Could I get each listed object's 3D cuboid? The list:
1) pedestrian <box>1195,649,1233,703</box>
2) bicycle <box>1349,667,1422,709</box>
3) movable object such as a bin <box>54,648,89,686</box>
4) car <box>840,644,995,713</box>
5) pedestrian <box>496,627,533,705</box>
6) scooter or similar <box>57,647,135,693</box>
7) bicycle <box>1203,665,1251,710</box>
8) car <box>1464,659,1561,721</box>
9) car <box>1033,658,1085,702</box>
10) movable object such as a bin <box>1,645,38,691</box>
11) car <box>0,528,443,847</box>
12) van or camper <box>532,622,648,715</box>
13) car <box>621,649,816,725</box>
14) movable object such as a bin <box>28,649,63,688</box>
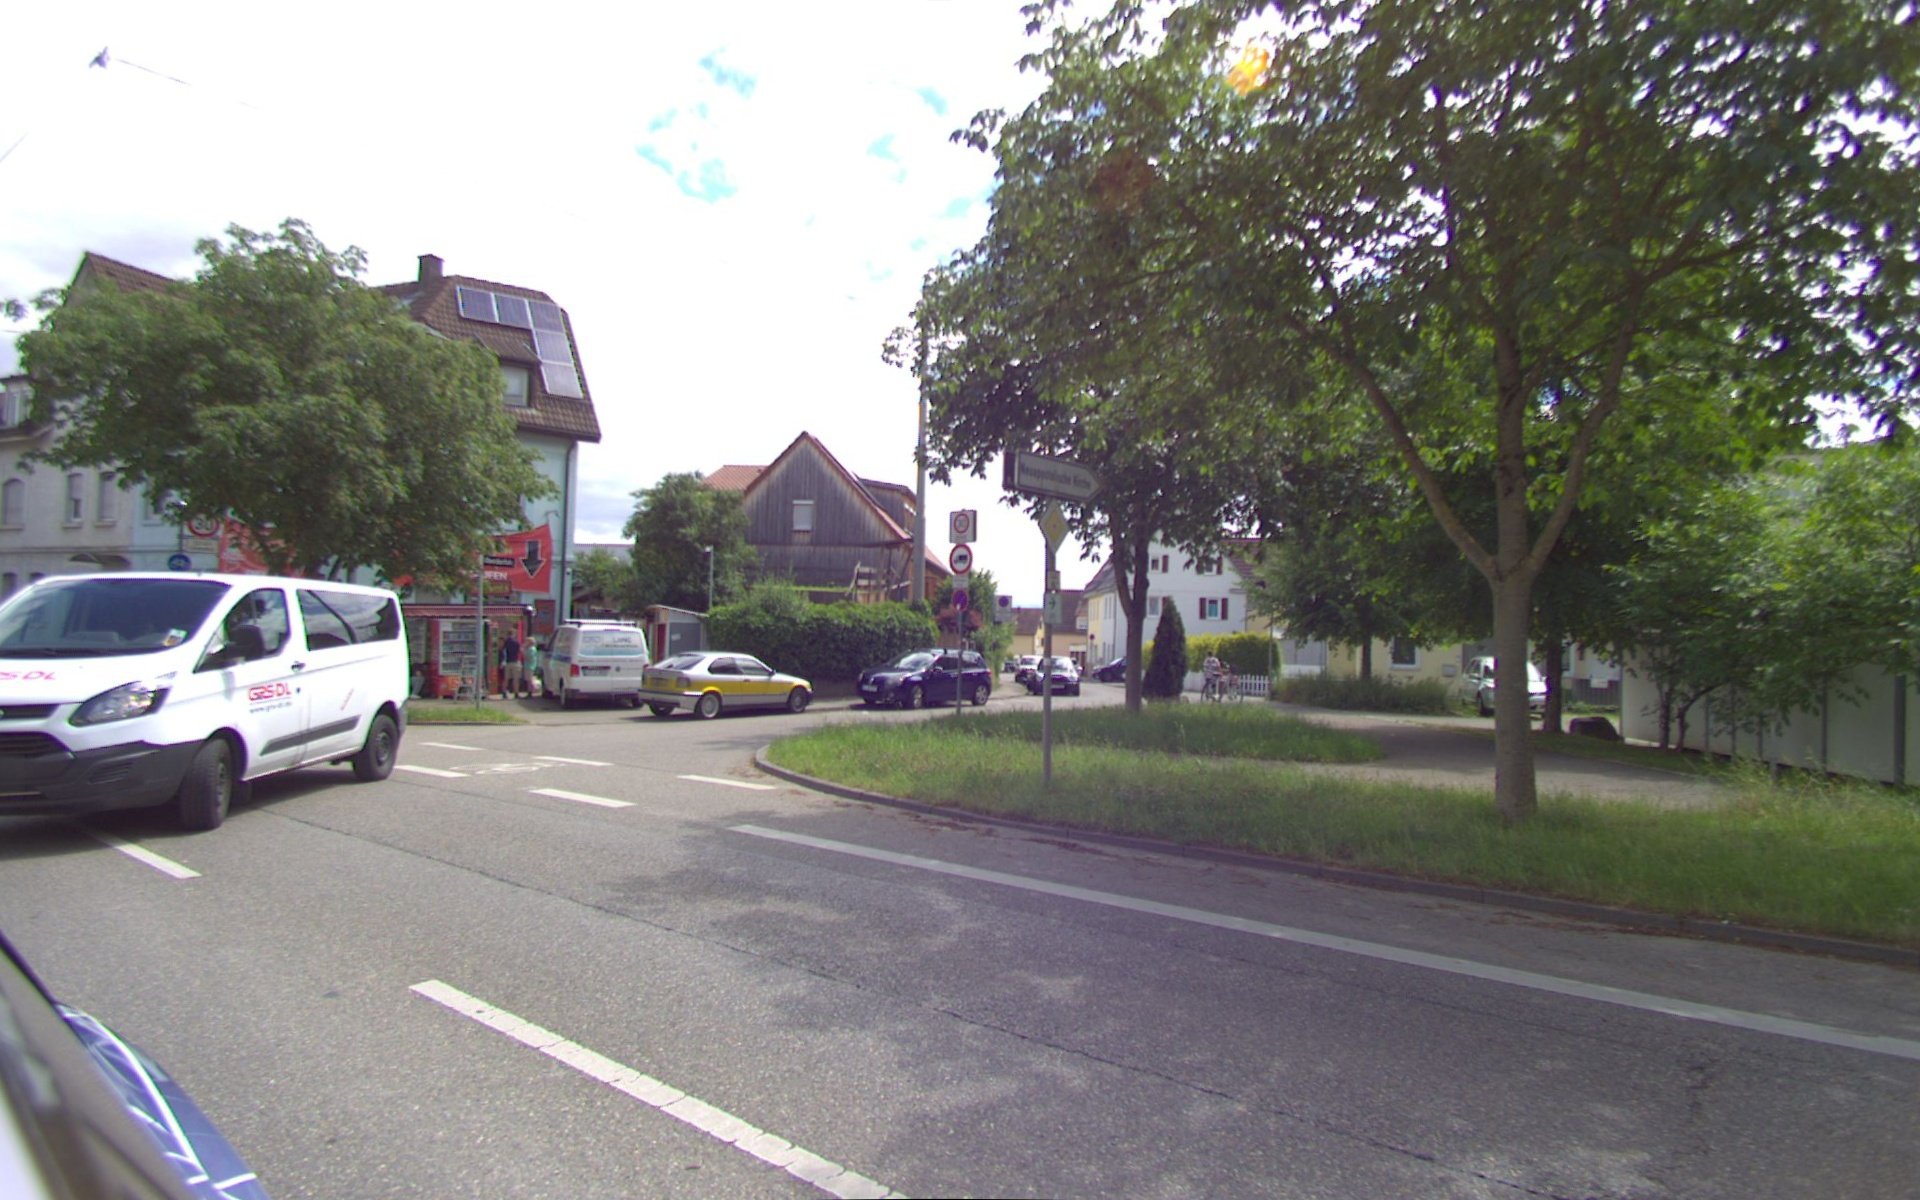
[{"bbox_3d":[7.786,2.324,31.045,0.812,1.607,0.727,-7,-6,36],"label":"pedestrian"},{"bbox_3d":[15.319,3.163,36.489,2.395,1.375,0.511,0,-1,24],"label":"bicycle"},{"bbox_3d":[-26.520,1.991,30.200,0.558,1.109,0.563,0,-1,18],"label":"movable object such as a bin"},{"bbox_3d":[-1.026,1.973,26.168,1.814,1.560,3.948,1,-1,40],"label":"car"},{"bbox_3d":[-11.186,1.641,25.421,0.559,1.910,0.623,1,-1,11],"label":"pedestrian"},{"bbox_3d":[-24.025,1.923,28.165,0.542,1.193,1.546,0,-1,22],"label":"scooter or similar"},{"bbox_3d":[6.032,1.971,22.966,0.457,0.866,2.226,1,-1,-1],"label":"bicycle"},{"bbox_3d":[14.136,2.297,26.067,1.822,1.408,3.384,0,-4,23],"label":"car"},{"bbox_3d":[3.629,2.860,36.707,1.576,1.332,3.765,2,-1,10],"label":"car"},{"bbox_3d":[-26.949,1.944,29.007,0.558,1.282,0.563,0,-1,18],"label":"movable object such as a bin"},{"bbox_3d":[-6.786,0.725,8.968,2.076,2.009,5.235,2,-5,-6],"label":"car"},{"bbox_3d":[-9.092,1.586,24.649,1.760,2.009,4.392,3,-2,-32],"label":"van or camper"},{"bbox_3d":[-5.203,1.834,22.273,1.811,1.424,3.982,0,-2,34],"label":"car"},{"bbox_3d":[-26.744,1.996,29.598,0.558,1.109,0.563,0,-1,18],"label":"movable object such as a bin"}]
